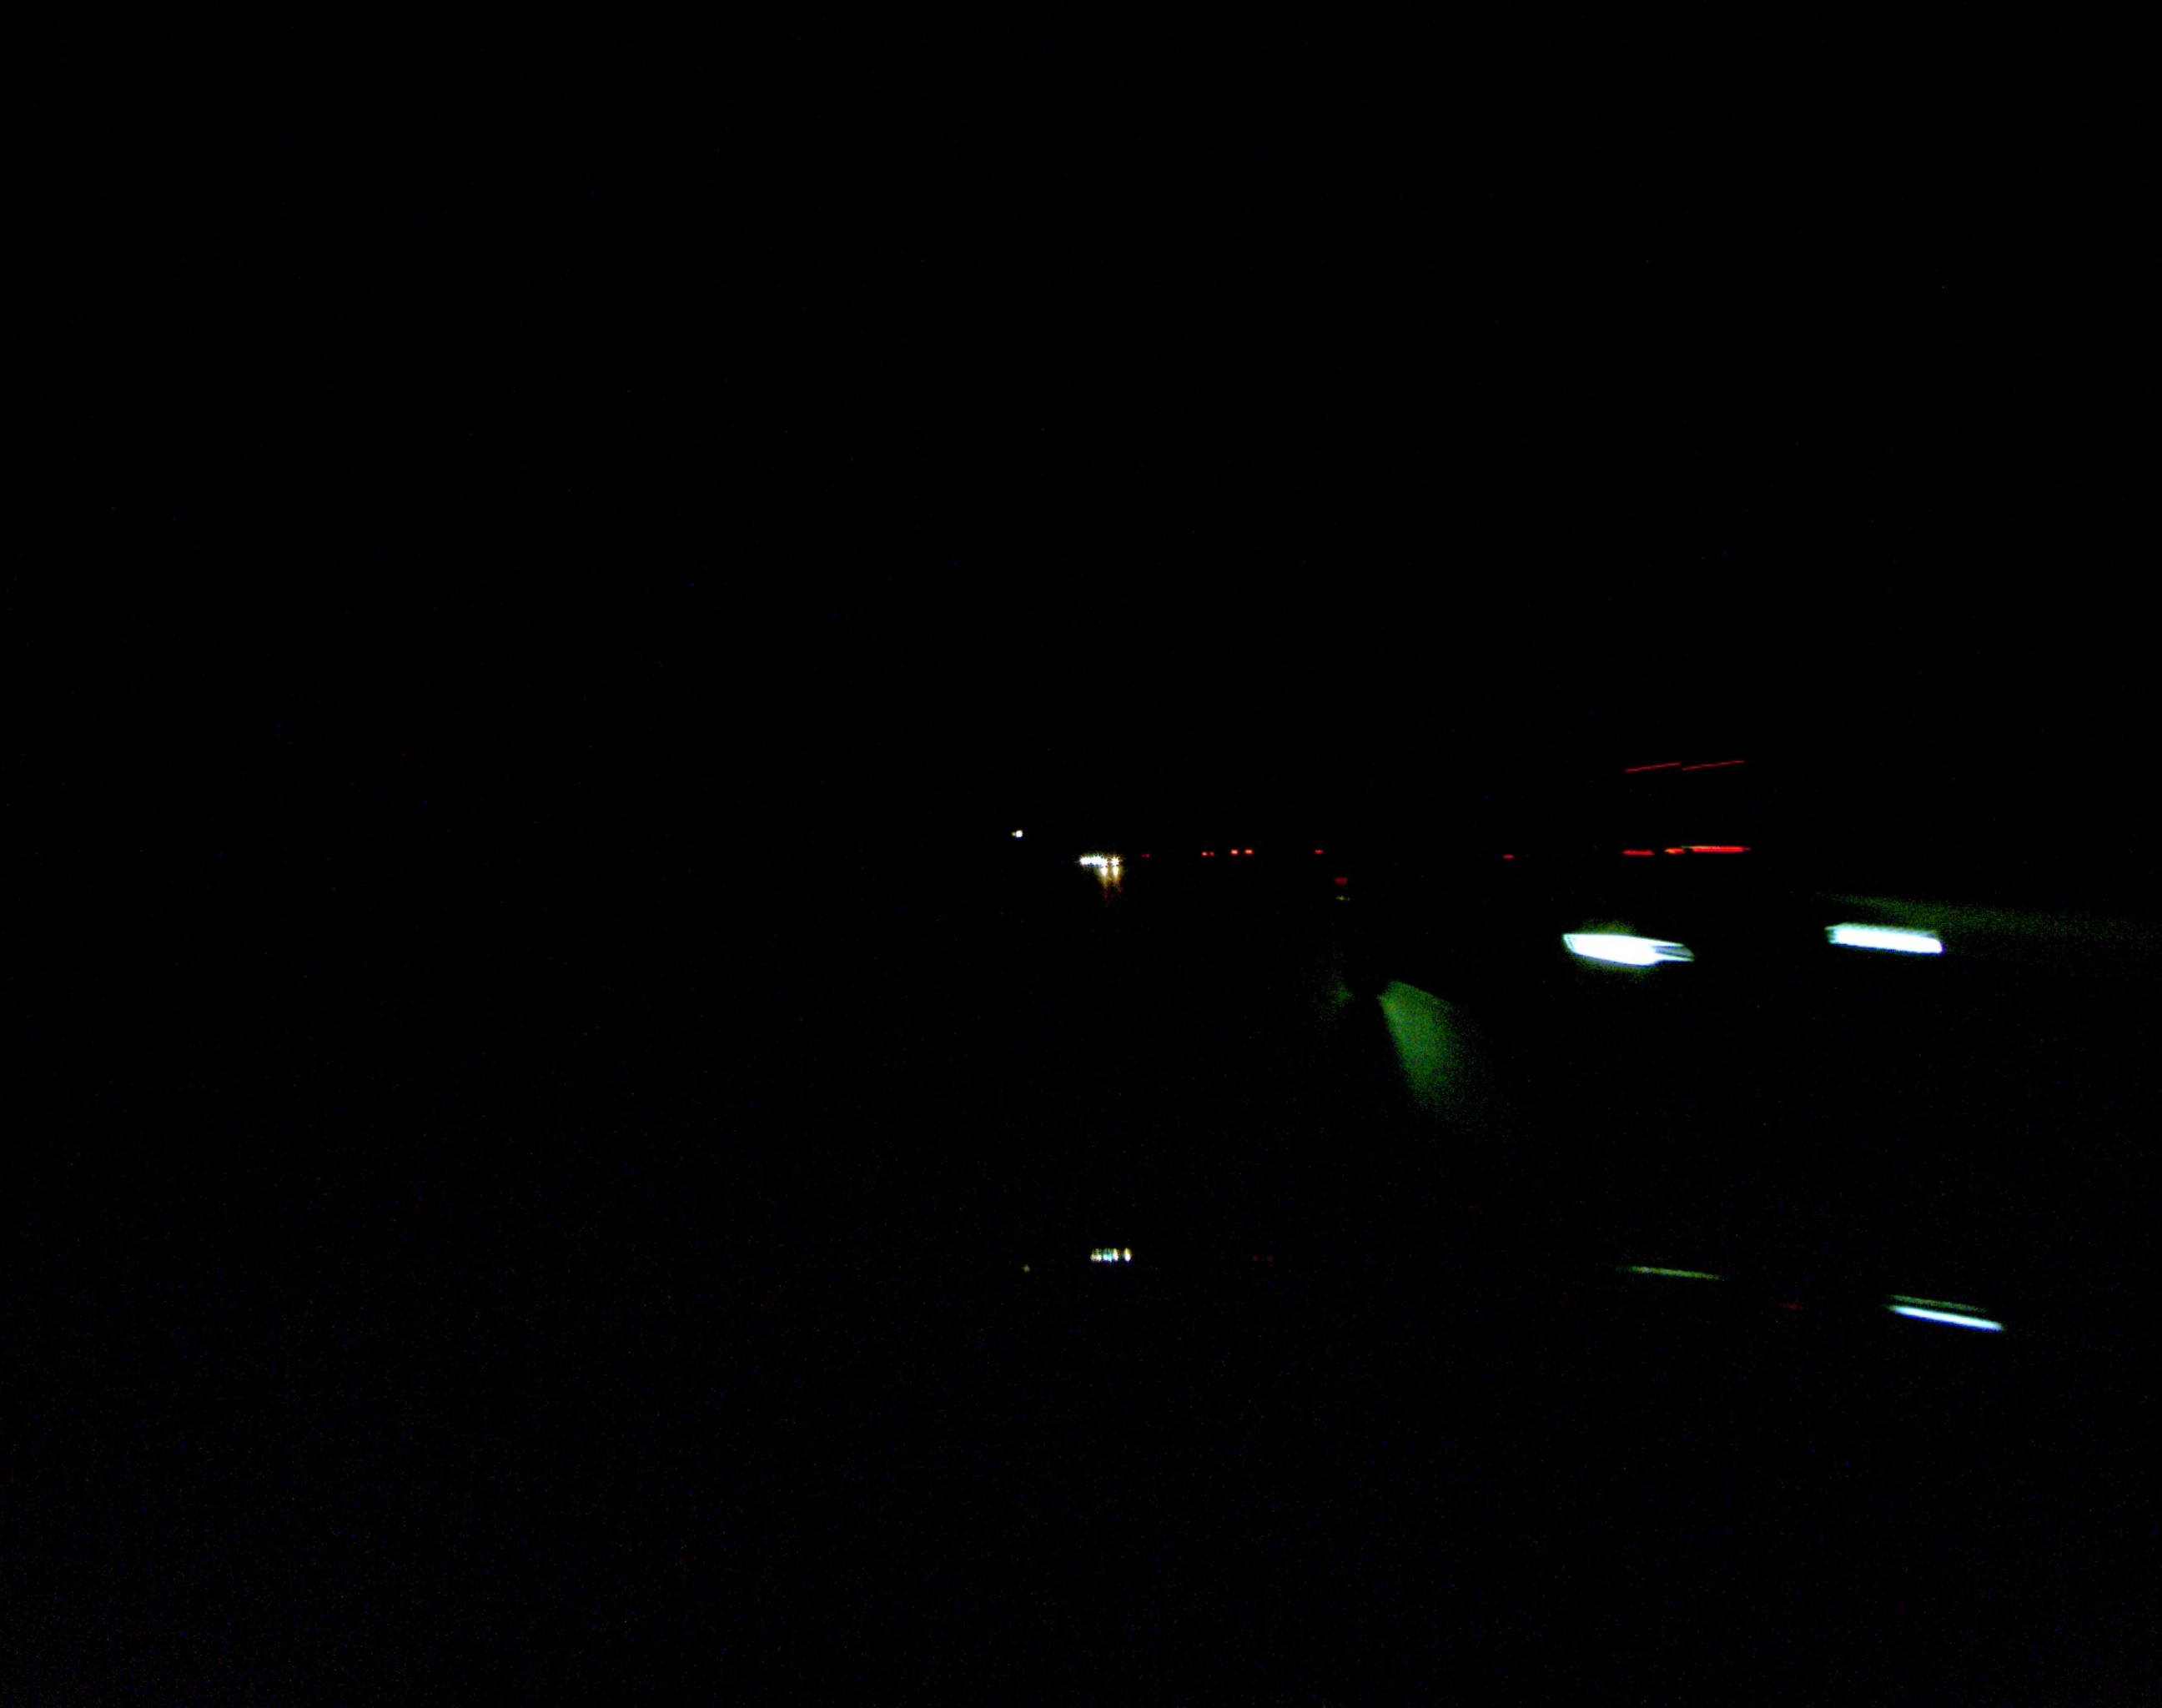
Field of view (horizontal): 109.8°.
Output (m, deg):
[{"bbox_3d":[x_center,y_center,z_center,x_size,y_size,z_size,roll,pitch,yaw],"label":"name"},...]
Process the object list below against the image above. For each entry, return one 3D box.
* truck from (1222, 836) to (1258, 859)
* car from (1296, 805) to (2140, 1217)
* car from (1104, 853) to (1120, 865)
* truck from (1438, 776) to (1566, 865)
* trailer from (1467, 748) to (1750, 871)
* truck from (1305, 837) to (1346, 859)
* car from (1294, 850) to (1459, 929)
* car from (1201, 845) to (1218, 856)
[{"bbox_3d":[20.340,-0.774,97.377,2.880,2.626,7.885,-3,0,1],"label":"truck"},{"bbox_3d":[3.596,0.686,6.260,1.998,1.711,5.942,-2,0,1],"label":"car"},{"bbox_3d":[4.185,0.639,103.220,1.998,1.423,4.329,-5,0,1],"label":"car"},{"bbox_3d":[23.064,-1.700,42.157,3.333,4.407,6.707,-2,0,1],"label":"truck"},{"bbox_3d":[22.966,-1.650,34.976,3.333,4.407,14.023,-2,0,1],"label":"trailer"},{"bbox_3d":[21.274,-0.502,66.351,2.039,1.746,4.763,-2,0,1],"label":"truck"},{"bbox_3d":[6.521,0.684,17.520,1.554,1.423,5.512,-1,1,-1],"label":"car"},{"bbox_3d":[23.708,-0.623,140.205,2.202,1.944,4.763,-5,0,1],"label":"car"}]
